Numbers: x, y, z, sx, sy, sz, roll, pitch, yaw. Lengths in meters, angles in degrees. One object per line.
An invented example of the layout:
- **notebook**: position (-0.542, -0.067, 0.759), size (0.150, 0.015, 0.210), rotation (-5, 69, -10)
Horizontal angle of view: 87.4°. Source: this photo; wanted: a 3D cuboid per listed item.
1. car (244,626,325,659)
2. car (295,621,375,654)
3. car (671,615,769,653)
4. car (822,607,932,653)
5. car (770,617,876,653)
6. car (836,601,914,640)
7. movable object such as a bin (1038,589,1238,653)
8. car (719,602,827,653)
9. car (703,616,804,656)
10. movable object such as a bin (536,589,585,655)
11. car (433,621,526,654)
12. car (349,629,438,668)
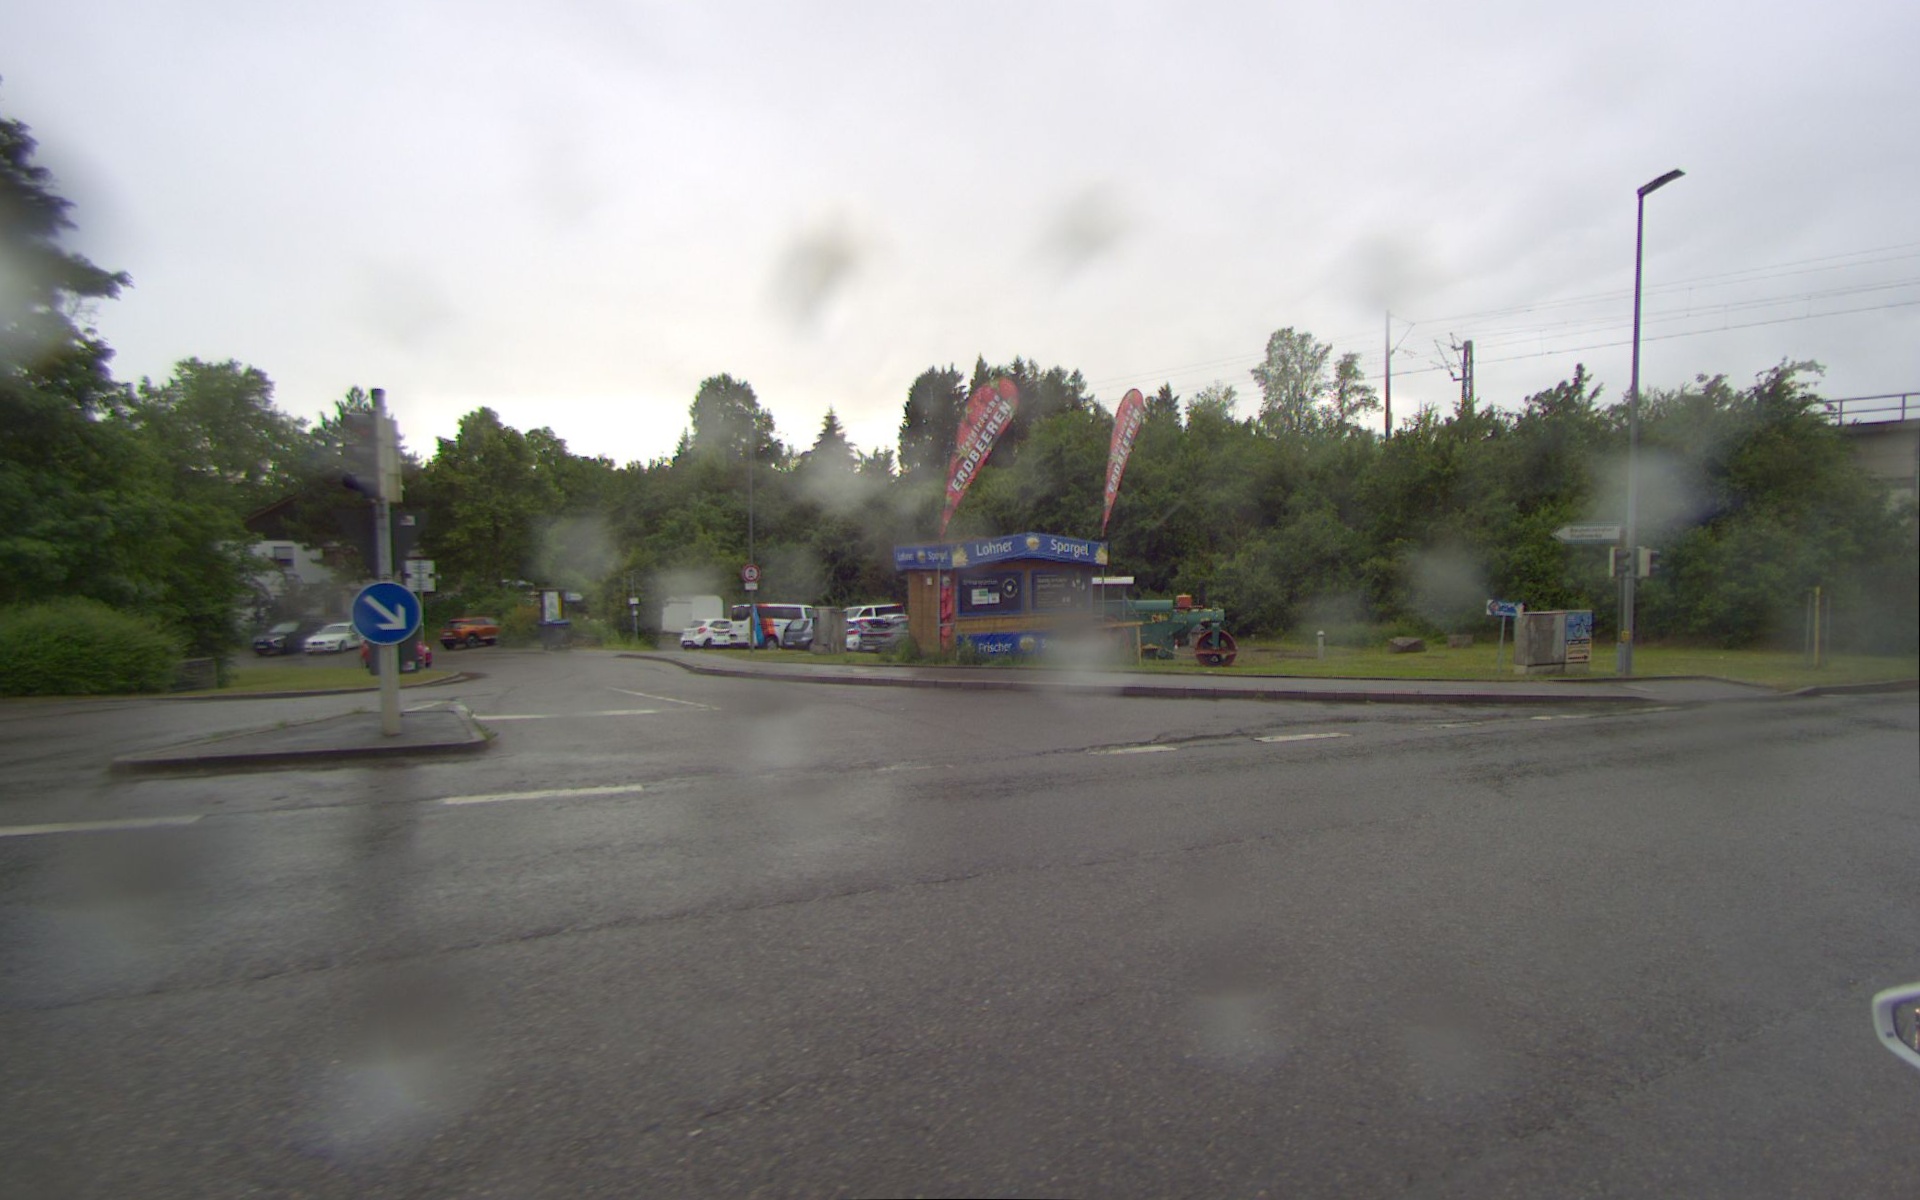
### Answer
- **car**: position (-36.186, 2.242, 53.944), size (1.703, 1.606, 3.999), rotation (2, -1, -3)
- **car**: position (-33.461, 1.970, 53.925), size (1.962, 1.606, 3.997), rotation (2, -1, -5)
- **car**: position (-10.892, 1.578, 45.741), size (1.813, 1.606, 3.978), rotation (1, -1, 42)
- **car**: position (-3.188, 1.180, 39.069), size (3.880, 1.606, 1.918), rotation (3, -1, -43)
- **car**: position (-5.493, 1.437, 40.657), size (3.972, 1.327, 1.734), rotation (3, -1, -43)
- **car**: position (-4.634, 1.116, 55.281), size (1.972, 2.040, 3.976), rotation (1, -1, 44)
- **movable object such as a bin**: position (5.345, 0.625, 30.414), size (5.663, 1.649, 2.753), rotation (2, -1, 10)
- **car**: position (-7.753, 1.158, 41.907), size (1.971, 1.974, 3.978), rotation (1, -1, 42)
- **car**: position (-8.978, 1.600, 43.844), size (1.834, 1.606, 3.978), rotation (1, -1, 42)
- **movable object such as a bin**: position (-19.660, 1.080, 49.494), size (1.765, 3.192, 1.304), rotation (2, -1, 28)
- **car**: position (-25.248, 1.972, 52.884), size (1.963, 1.606, 3.995), rotation (2, -1, 28)
- **car**: position (-23.963, 2.020, 42.455), size (3.931, 1.421, 1.547), rotation (2, -1, 32)
